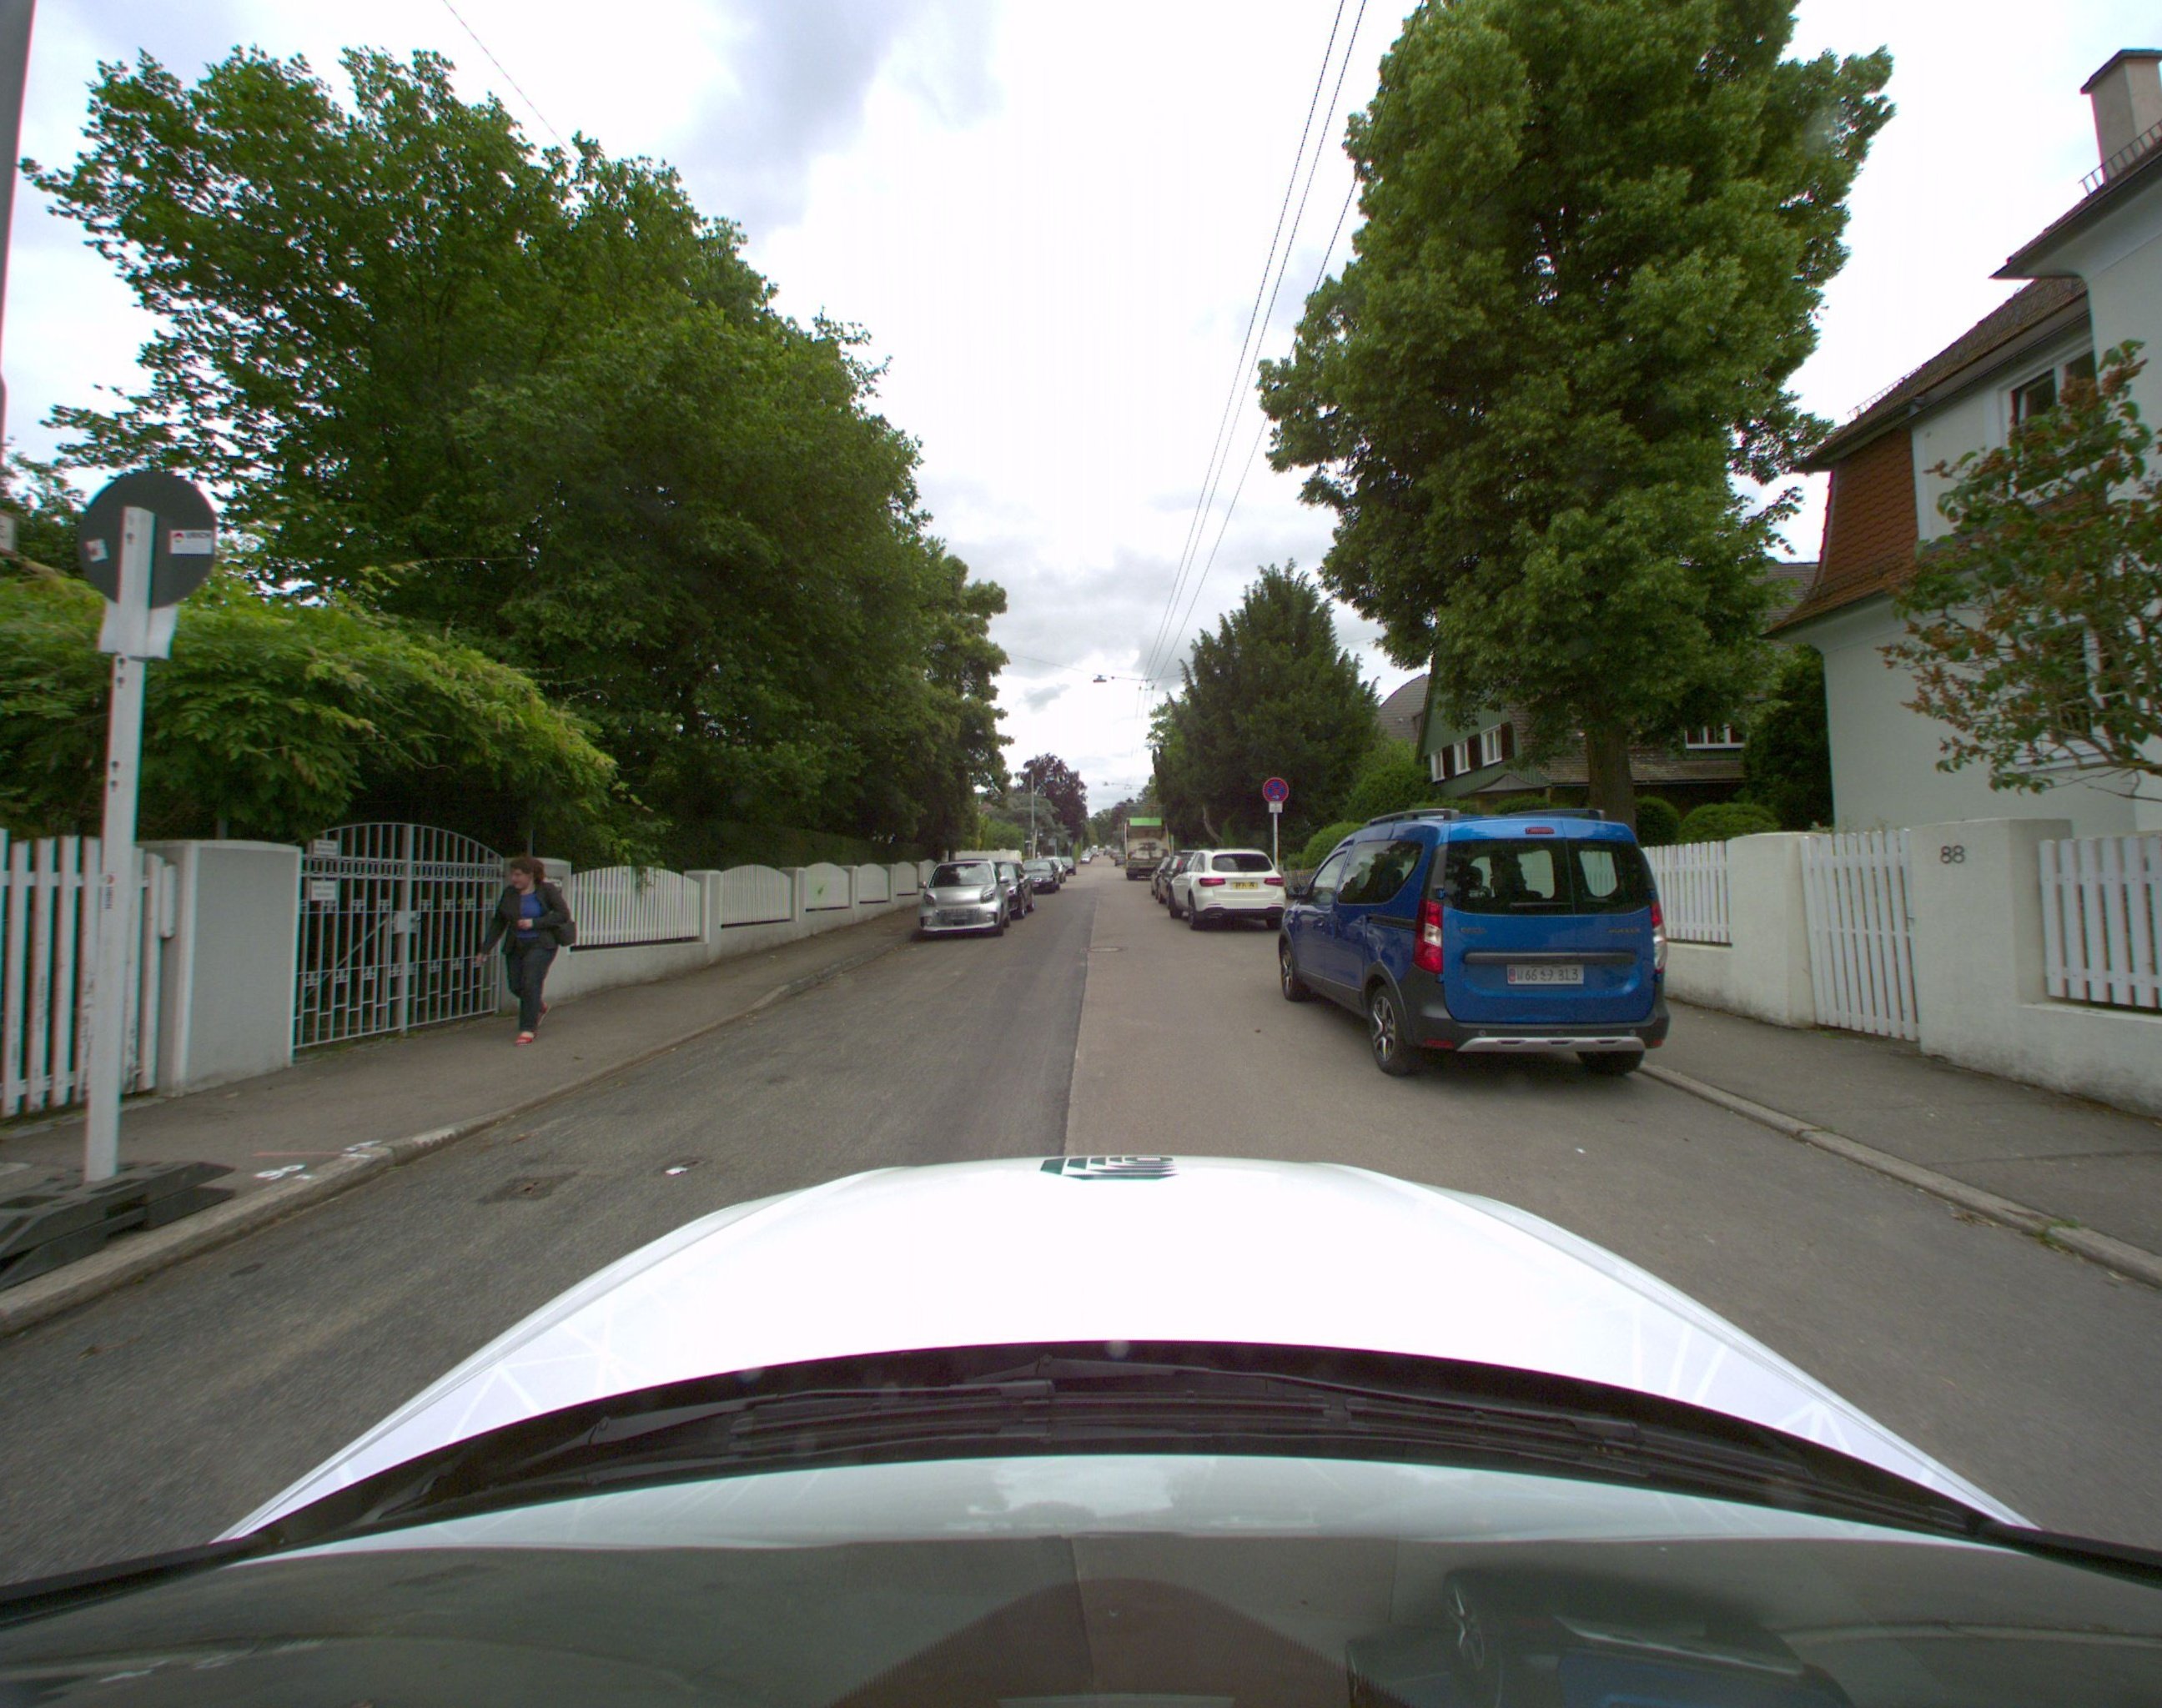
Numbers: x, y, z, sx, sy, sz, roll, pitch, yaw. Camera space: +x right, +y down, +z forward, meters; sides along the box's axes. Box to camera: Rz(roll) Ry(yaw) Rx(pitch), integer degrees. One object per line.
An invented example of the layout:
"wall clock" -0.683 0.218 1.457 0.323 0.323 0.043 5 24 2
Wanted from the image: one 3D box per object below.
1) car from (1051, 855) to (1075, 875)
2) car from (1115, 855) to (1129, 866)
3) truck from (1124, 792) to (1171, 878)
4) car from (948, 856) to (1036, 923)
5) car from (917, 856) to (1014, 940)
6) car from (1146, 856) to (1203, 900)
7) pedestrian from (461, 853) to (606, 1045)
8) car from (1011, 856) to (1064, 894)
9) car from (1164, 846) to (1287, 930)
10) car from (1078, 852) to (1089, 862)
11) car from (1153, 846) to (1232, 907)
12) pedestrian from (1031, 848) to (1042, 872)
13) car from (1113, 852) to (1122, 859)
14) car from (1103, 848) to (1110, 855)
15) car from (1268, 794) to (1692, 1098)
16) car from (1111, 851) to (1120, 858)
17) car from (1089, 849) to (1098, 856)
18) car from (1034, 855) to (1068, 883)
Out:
"car" -1.333 0.793 61.598 1.631 1.395 3.988 -3 0 0
"car" 5.919 0.945 118.202 1.773 1.489 4.000 -1 0 0
"truck" 3.861 -1.016 48.560 2.514 4.748 7.191 0 0 2
"car" -2.208 0.845 21.230 1.649 1.481 3.890 -4 0 2
"car" -2.348 0.846 17.199 1.617 1.533 2.960 -3 0 -2
"car" 3.281 0.801 29.190 1.646 1.424 4.662 0 0 2
"pedestrian" -4.757 0.790 7.135 0.606 1.546 0.798 4 -1 1
"car" -1.787 0.843 34.761 1.634 1.422 4.553 -3 0 3
"car" 3.008 0.651 17.858 1.753 1.606 4.571 0 0 -2
"car" 0.432 0.512 138.488 1.703 1.586 4.005 -1 0 4
"car" 3.159 0.603 23.901 1.693 1.570 4.307 -1 0 0
"pedestrian" -3.697 0.508 67.426 0.850 2.014 0.700 1 -1 -4
"car" 7.233 0.262 161.779 1.804 1.335 3.633 1 1 1
"car" 6.445 -0.585 206.379 1.628 1.701 3.495 0 0 1
"car" 2.916 0.550 7.048 1.676 1.829 4.157 1 0 1
"car" 7.182 0.062 170.671 1.782 1.529 3.737 -1 0 3
"car" 3.044 -0.336 193.604 1.720 1.407 3.809 -1 0 5
"car" -1.654 0.795 46.124 1.589 1.433 4.002 -3 0 2
